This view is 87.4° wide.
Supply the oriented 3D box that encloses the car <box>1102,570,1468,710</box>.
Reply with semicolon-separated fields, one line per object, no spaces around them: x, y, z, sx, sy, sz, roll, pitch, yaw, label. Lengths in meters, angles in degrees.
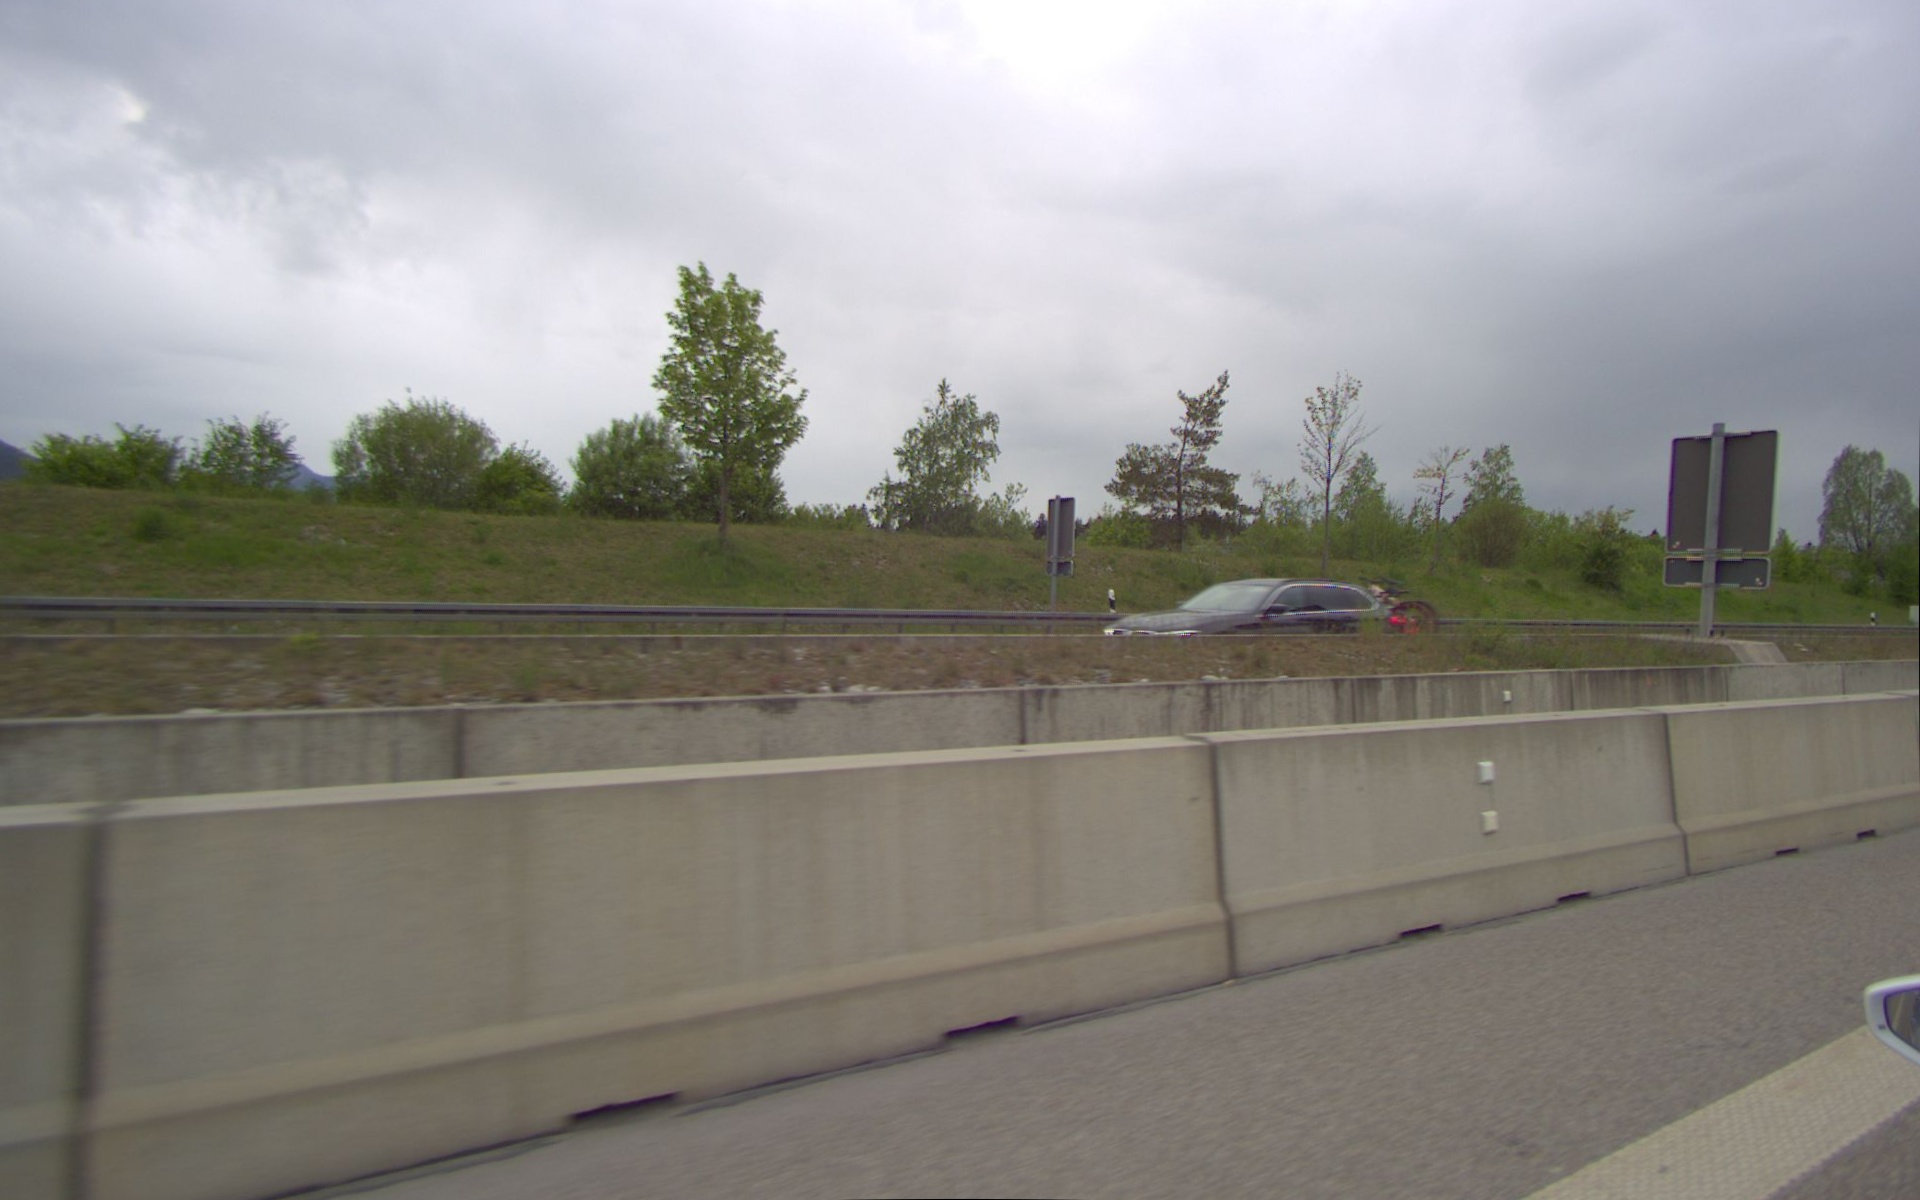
4.938;0.536;14.911;5.685;1.760;1.868;1;1;-31;car
